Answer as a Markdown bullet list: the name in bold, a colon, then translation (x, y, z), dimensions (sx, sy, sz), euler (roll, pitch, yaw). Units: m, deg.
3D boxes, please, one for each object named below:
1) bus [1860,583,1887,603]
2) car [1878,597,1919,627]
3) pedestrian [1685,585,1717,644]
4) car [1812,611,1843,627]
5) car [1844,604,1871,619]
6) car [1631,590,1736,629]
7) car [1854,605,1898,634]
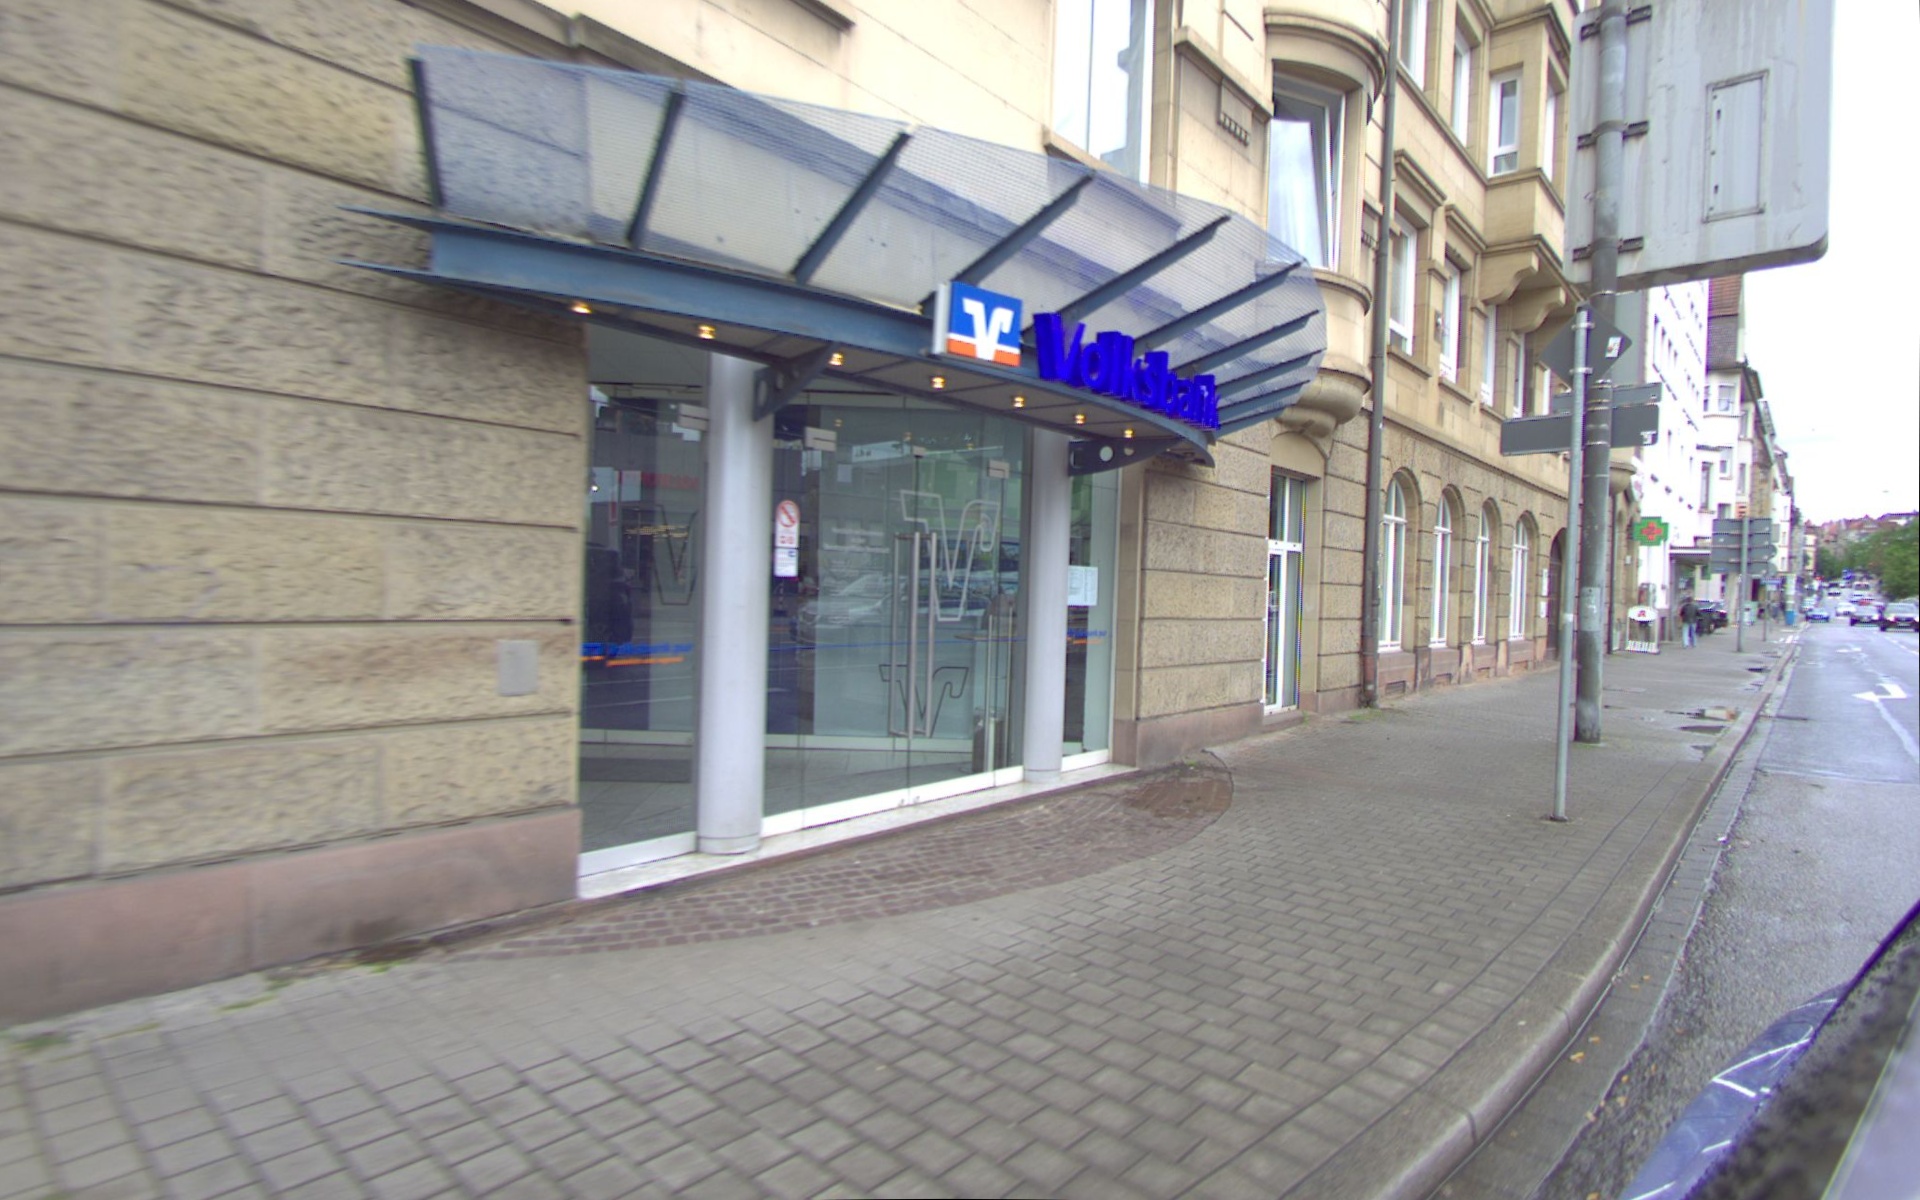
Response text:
- **bus**: translation (165.786, -1.257, 183.732), dimensions (2.804, 3.284, 11.791), euler (8, 5, 39)
- **car**: translation (56.079, 0.733, 59.598), dimensions (1.839, 1.676, 4.167), euler (2, 1, 26)
- **pedestrian**: translation (22.547, 0.432, 30.792), dimensions (0.672, 1.741, 0.887), euler (2, 1, 42)
- **car**: translation (80.399, 1.762, 93.850), dimensions (1.729, 1.326, 3.719), euler (2, 1, 35)
- **car**: translation (102.631, 1.274, 115.753), dimensions (1.952, 1.576, 4.183), euler (4, 2, 39)
- **car**: translation (36.553, 0.448, 51.262), dimensions (4.118, 1.794, 1.853), euler (2, 1, 31)
- **car**: translation (67.648, 1.419, 74.789), dimensions (1.988, 2.039, 3.947), euler (2, 0, 36)
